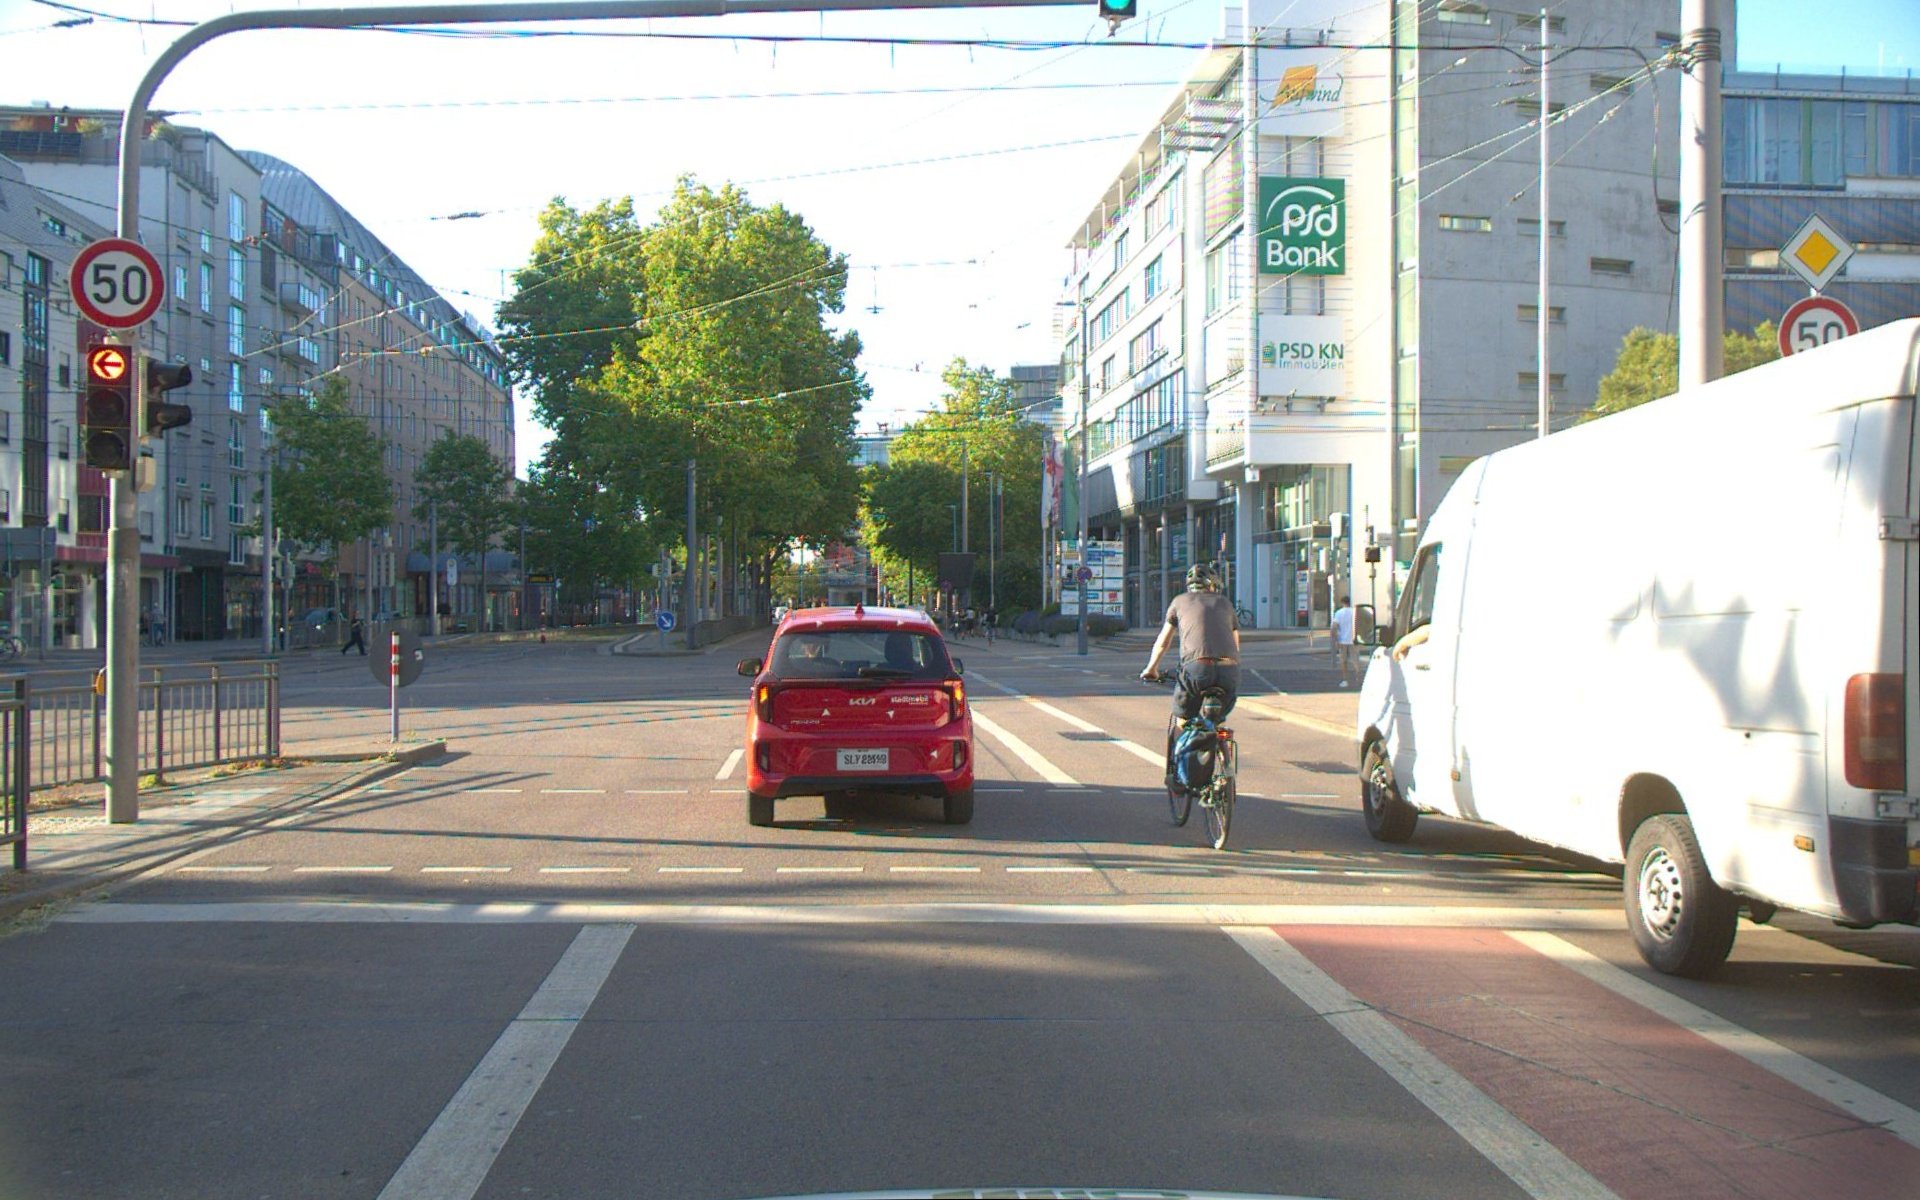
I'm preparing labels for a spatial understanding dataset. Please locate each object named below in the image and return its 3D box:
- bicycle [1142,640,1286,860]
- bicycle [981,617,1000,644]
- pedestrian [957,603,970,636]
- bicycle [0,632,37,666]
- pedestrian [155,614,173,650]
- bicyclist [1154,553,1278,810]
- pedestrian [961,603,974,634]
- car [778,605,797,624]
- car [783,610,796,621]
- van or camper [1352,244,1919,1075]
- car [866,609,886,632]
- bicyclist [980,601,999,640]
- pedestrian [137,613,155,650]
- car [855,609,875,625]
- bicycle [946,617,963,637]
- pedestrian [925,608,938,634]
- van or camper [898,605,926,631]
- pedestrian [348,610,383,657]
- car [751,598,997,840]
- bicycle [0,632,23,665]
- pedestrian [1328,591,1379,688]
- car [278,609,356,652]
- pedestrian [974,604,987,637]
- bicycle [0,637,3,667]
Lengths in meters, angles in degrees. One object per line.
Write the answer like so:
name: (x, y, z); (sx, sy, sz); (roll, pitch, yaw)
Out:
bicycle: (1.670, 0.943, 11.148); (0.637, 1.303, 1.966); (0, 0, -1)
bicycle: (1.327, 1.318, 71.799); (0.682, 1.117, 1.750); (-4, 0, -1)
pedestrian: (0.169, 1.036, 88.090); (0.634, 1.710, 0.650); (0, 0, -6)
bicycle: (-29.227, 1.499, 50.405); (1.808, 1.002, 0.552); (0, 0, -8)
pedestrian: (-33.778, 1.348, 70.196); (0.524, 1.520, 0.586); (0, 0, -8)
bicyclist: (1.696, 0.522, 11.095); (0.637, 1.631, 1.088); (0, 0, -1)
pedestrian: (0.413, 1.058, 93.725); (0.553, 1.732, 0.905); (-3, 0, -7)
car: (-18.972, 1.625, 181.867); (1.956, 2.049, 3.993); (0, 0, -8)
car: (-26.223, 2.346, 253.660); (1.745, 1.561, 3.404); (1, 0, -10)
van or camper: (3.957, 0.216, 8.721); (1.930, 2.764, 6.300); (1, 0, -3)
car: (-6.876, 1.683, 135.711); (1.603, 1.831, 3.327); (0, 0, -3)
bicyclist: (1.297, 0.883, 71.724); (0.707, 1.631, 1.088); (-2, 0, -2)
pedestrian: (-34.395, 1.334, 69.875); (0.524, 1.520, 0.586); (0, 0, -8)
car: (-9.992, 1.778, 173.248); (1.745, 1.561, 3.504); (1, 0, -10)
bicycle: (-0.273, 1.447, 87.862); (0.511, 0.991, 2.197); (-4, 0, -9)
pedestrian: (-1.817, 1.326, 105.689); (0.630, 1.607, 0.722); (-4, 0, -7)
van or camper: (-3.795, 1.410, 130.320); (1.954, 2.024, 4.740); (0, -1, -4)
pedestrian: (-20.044, 1.124, 55.775); (1.027, 1.571, 0.692); (0, 0, -11)
car: (-0.699, 0.781, 12.447); (1.582, 1.561, 3.408); (0, 0, -5)
bicycle: (-29.289, 1.466, 49.790); (1.808, 1.002, 0.552); (0, 0, -8)
pedestrian: (7.706, 0.758, 32.438); (0.761, 1.855, 1.216); (0, 0, 4)
car: (-26.519, 1.239, 68.390); (1.917, 1.702, 4.255); (0, 0, -6)
pedestrian: (1.183, 1.158, 93.906); (0.530, 1.827, 0.905); (-3, 0, -7)
bicycle: (-29.145, 1.534, 48.524); (1.806, 0.869, 0.553); (0, 0, -3)
